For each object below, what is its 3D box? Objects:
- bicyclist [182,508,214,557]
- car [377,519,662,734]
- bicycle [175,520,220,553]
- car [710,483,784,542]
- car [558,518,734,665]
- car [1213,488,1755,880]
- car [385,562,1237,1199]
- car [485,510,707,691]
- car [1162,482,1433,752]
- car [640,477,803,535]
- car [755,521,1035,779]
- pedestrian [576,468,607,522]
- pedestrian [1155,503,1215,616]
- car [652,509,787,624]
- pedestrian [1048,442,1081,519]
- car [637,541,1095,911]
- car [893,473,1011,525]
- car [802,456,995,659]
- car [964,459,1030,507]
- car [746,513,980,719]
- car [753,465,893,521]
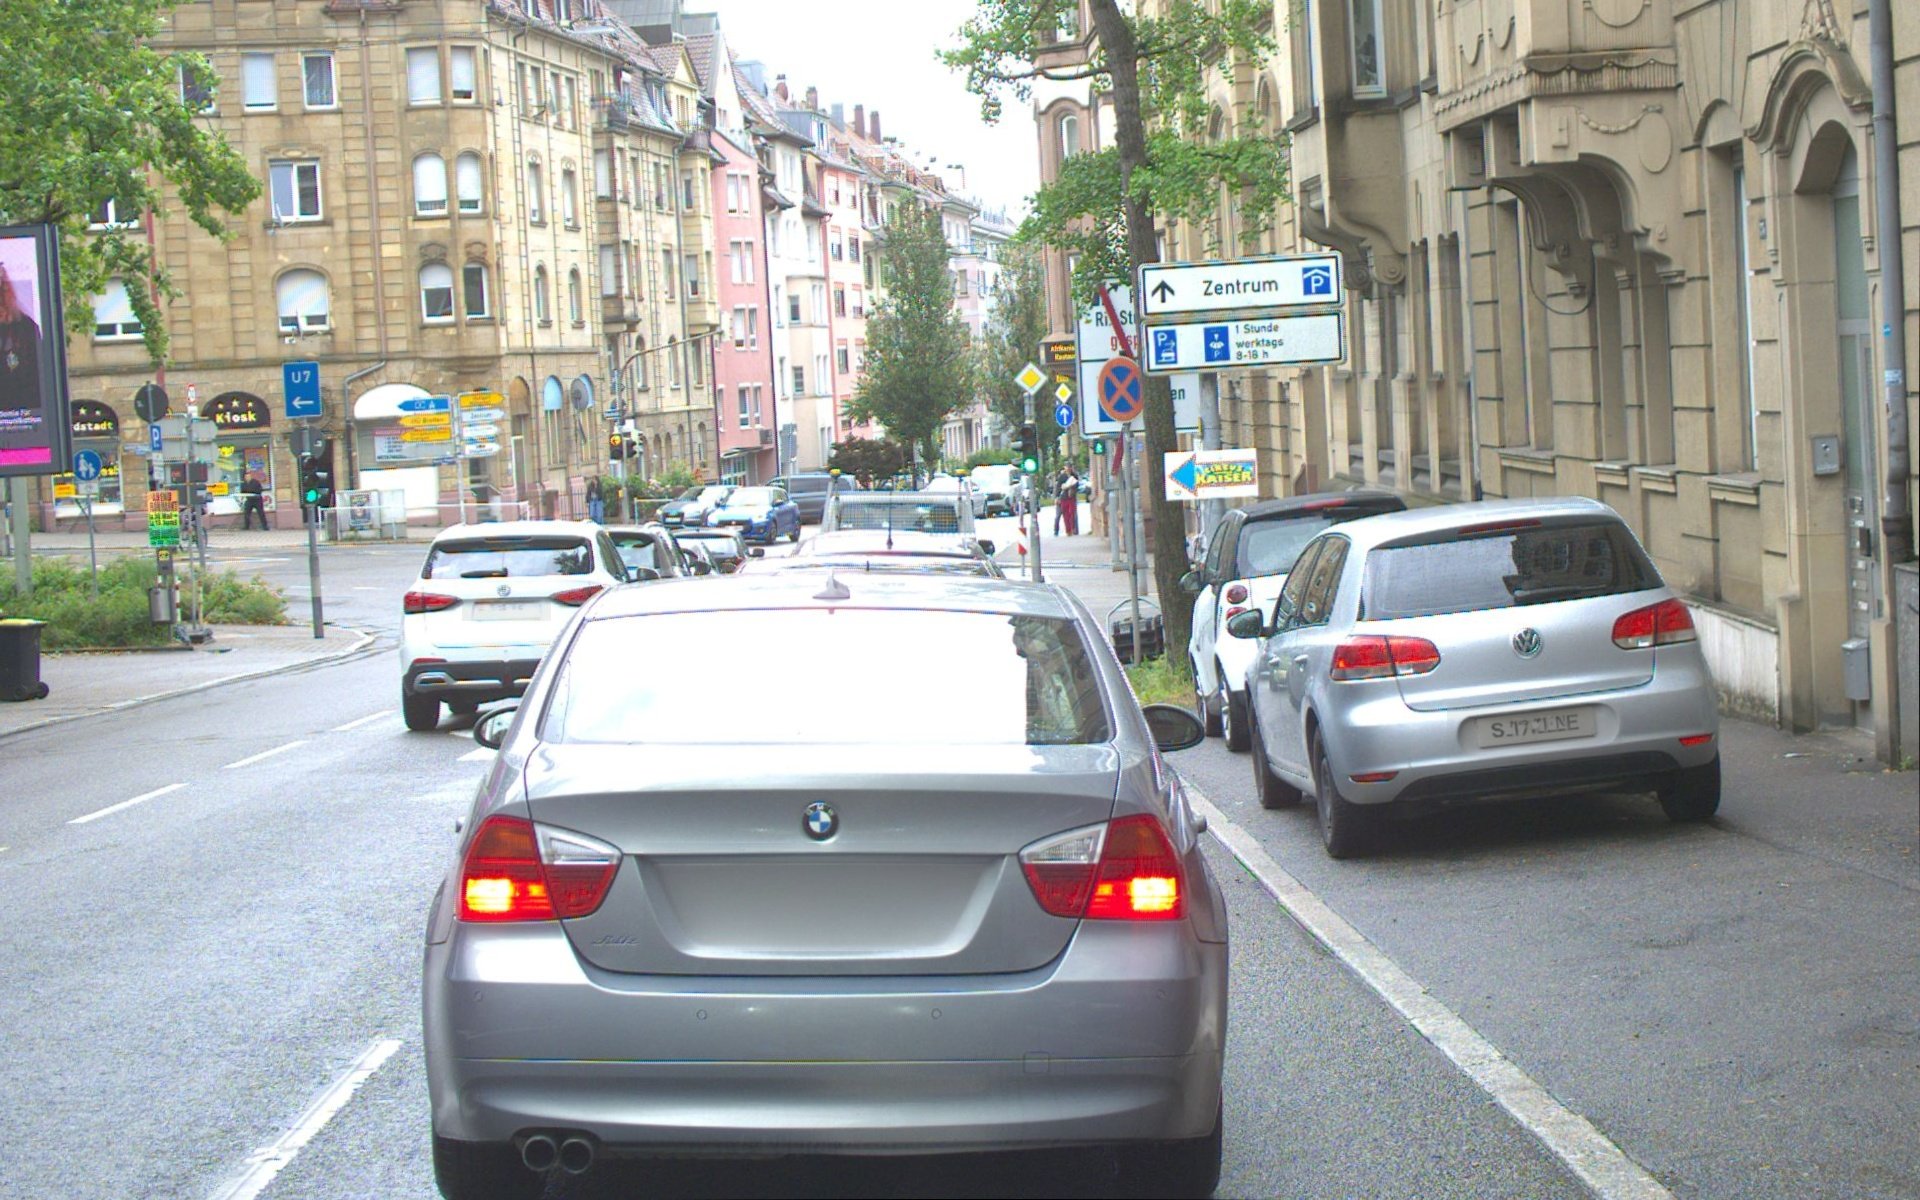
[{"bbox_3d":[-20.077,-1.782,90.582,0.569,1.268,0.689,1,0,12],"label":"bicyclist"},{"bbox_3d":[-3.544,0.155,28.291,1.868,1.620,4.000,-1,1,-1],"label":"car"},{"bbox_3d":[-20.094,-1.672,90.606,0.574,0.855,1.521,1,1,12],"label":"bicycle"},{"bbox_3d":[-5.533,-2.280,89.738,1.715,1.445,3.743,-2,1,-1],"label":"car"},{"bbox_3d":[-3.840,-0.148,42.602,1.759,1.702,4.000,-1,1,1],"label":"car"},{"bbox_3d":[2.330,0.303,16.303,1.759,1.446,4.000,-6,1,-1],"label":"car"},{"bbox_3d":[-0.269,0.634,8.422,1.623,1.378,3.615,-1,1,1],"label":"car"},{"bbox_3d":[-3.622,-0.045,34.816,1.759,1.702,4.000,-1,1,1],"label":"car"},{"bbox_3d":[2.170,0.070,22.712,1.299,1.537,2.976,-6,1,-1],"label":"car"},{"bbox_3d":[-6.942,-2.726,100.360,1.998,1.573,4.643,1,1,42],"label":"car"},{"bbox_3d":[-0.354,0.238,21.673,1.595,1.459,4.000,0,1,1],"label":"car"},{"bbox_3d":[-10.837,-3.078,101.044,0.732,1.572,0.528,-2,1,8],"label":"pedestrian"},{"bbox_3d":[3.123,-0.562,47.802,0.631,1.503,0.693,-6,1,-1],"label":"pedestrian"},{"bbox_3d":[-3.714,-0.558,53.641,1.759,1.702,4.000,-1,1,1],"label":"car"},{"bbox_3d":[2.628,-3.004,86.445,0.742,1.903,0.659,-2,1,-1],"label":"pedestrian"},{"bbox_3d":[-0.346,0.457,15.349,1.759,1.378,4.000,-1,1,1],"label":"car"},{"bbox_3d":[-0.231,-3.255,111.062,1.997,1.573,3.993,1,1,32],"label":"car"},{"bbox_3d":[-0.660,-0.473,37.750,1.993,2.099,4.000,0,1,-1],"label":"car"},{"bbox_3d":[1.305,-4.083,120.248,1.994,1.573,3.999,1,1,5],"label":"car"},{"bbox_3d":[-0.735,0.074,28.447,1.759,1.562,4.000,-1,1,1],"label":"car"},{"bbox_3d":[-5.153,-4.021,129.746,5.176,2.007,2.699,1,1,-1],"label":"car"}]
